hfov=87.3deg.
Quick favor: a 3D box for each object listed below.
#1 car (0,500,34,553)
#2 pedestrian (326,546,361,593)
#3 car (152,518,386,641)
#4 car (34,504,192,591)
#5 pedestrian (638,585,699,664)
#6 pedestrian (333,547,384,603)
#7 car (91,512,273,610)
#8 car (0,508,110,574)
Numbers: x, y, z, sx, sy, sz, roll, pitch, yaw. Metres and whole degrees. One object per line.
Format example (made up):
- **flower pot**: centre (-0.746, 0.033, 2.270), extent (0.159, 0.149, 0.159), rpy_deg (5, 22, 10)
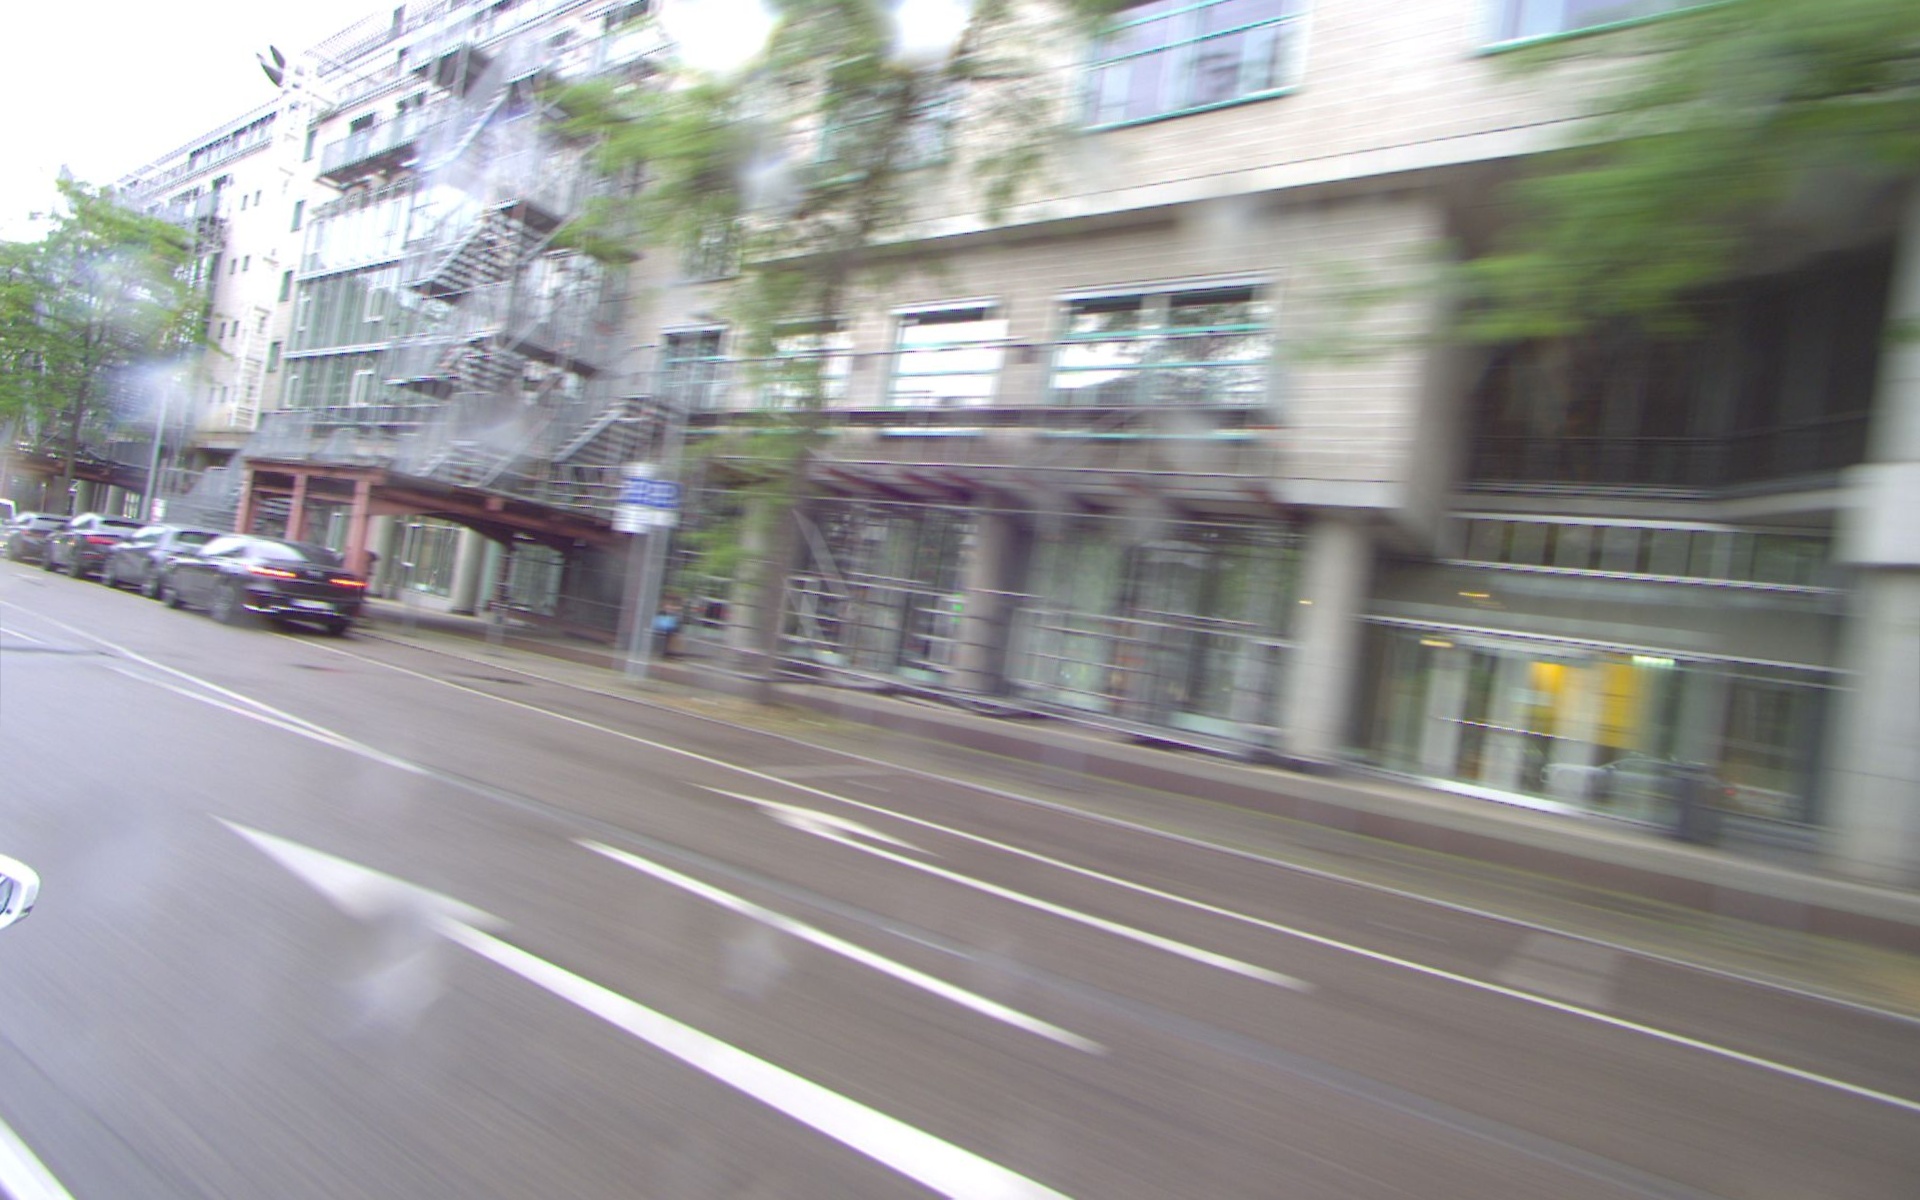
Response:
- **car**: centre (-35.854, -2.868, 36.760), extent (4.456, 1.770, 1.996), rpy_deg (6, -2, 36)
- **pedestrian**: centre (-21.718, -1.076, 35.429), extent (0.756, 1.536, 0.680), rpy_deg (6, -2, 38)
- **car**: centre (-12.633, -0.420, 18.245), extent (5.212, 1.619, 1.994), rpy_deg (6, -2, 39)
- **car**: centre (-21.528, -1.358, 25.510), extent (4.790, 1.665, 1.994), rpy_deg (6, -2, 38)
- **pedestrian**: centre (-6.545, 0.551, 22.610), extent (0.909, 1.614, 0.705), rpy_deg (7, -2, 34)
- **pedestrian**: centre (-19.361, -0.799, 32.388), extent (1.095, 1.614, 0.820), rpy_deg (7, -2, 31)
- **car**: centre (-17.317, -0.896, 22.335), extent (4.521, 1.619, 1.863), rpy_deg (6, -2, 36)
- **car**: centre (-26.866, -1.767, 29.531), extent (4.848, 1.454, 1.870), rpy_deg (6, -2, 38)
